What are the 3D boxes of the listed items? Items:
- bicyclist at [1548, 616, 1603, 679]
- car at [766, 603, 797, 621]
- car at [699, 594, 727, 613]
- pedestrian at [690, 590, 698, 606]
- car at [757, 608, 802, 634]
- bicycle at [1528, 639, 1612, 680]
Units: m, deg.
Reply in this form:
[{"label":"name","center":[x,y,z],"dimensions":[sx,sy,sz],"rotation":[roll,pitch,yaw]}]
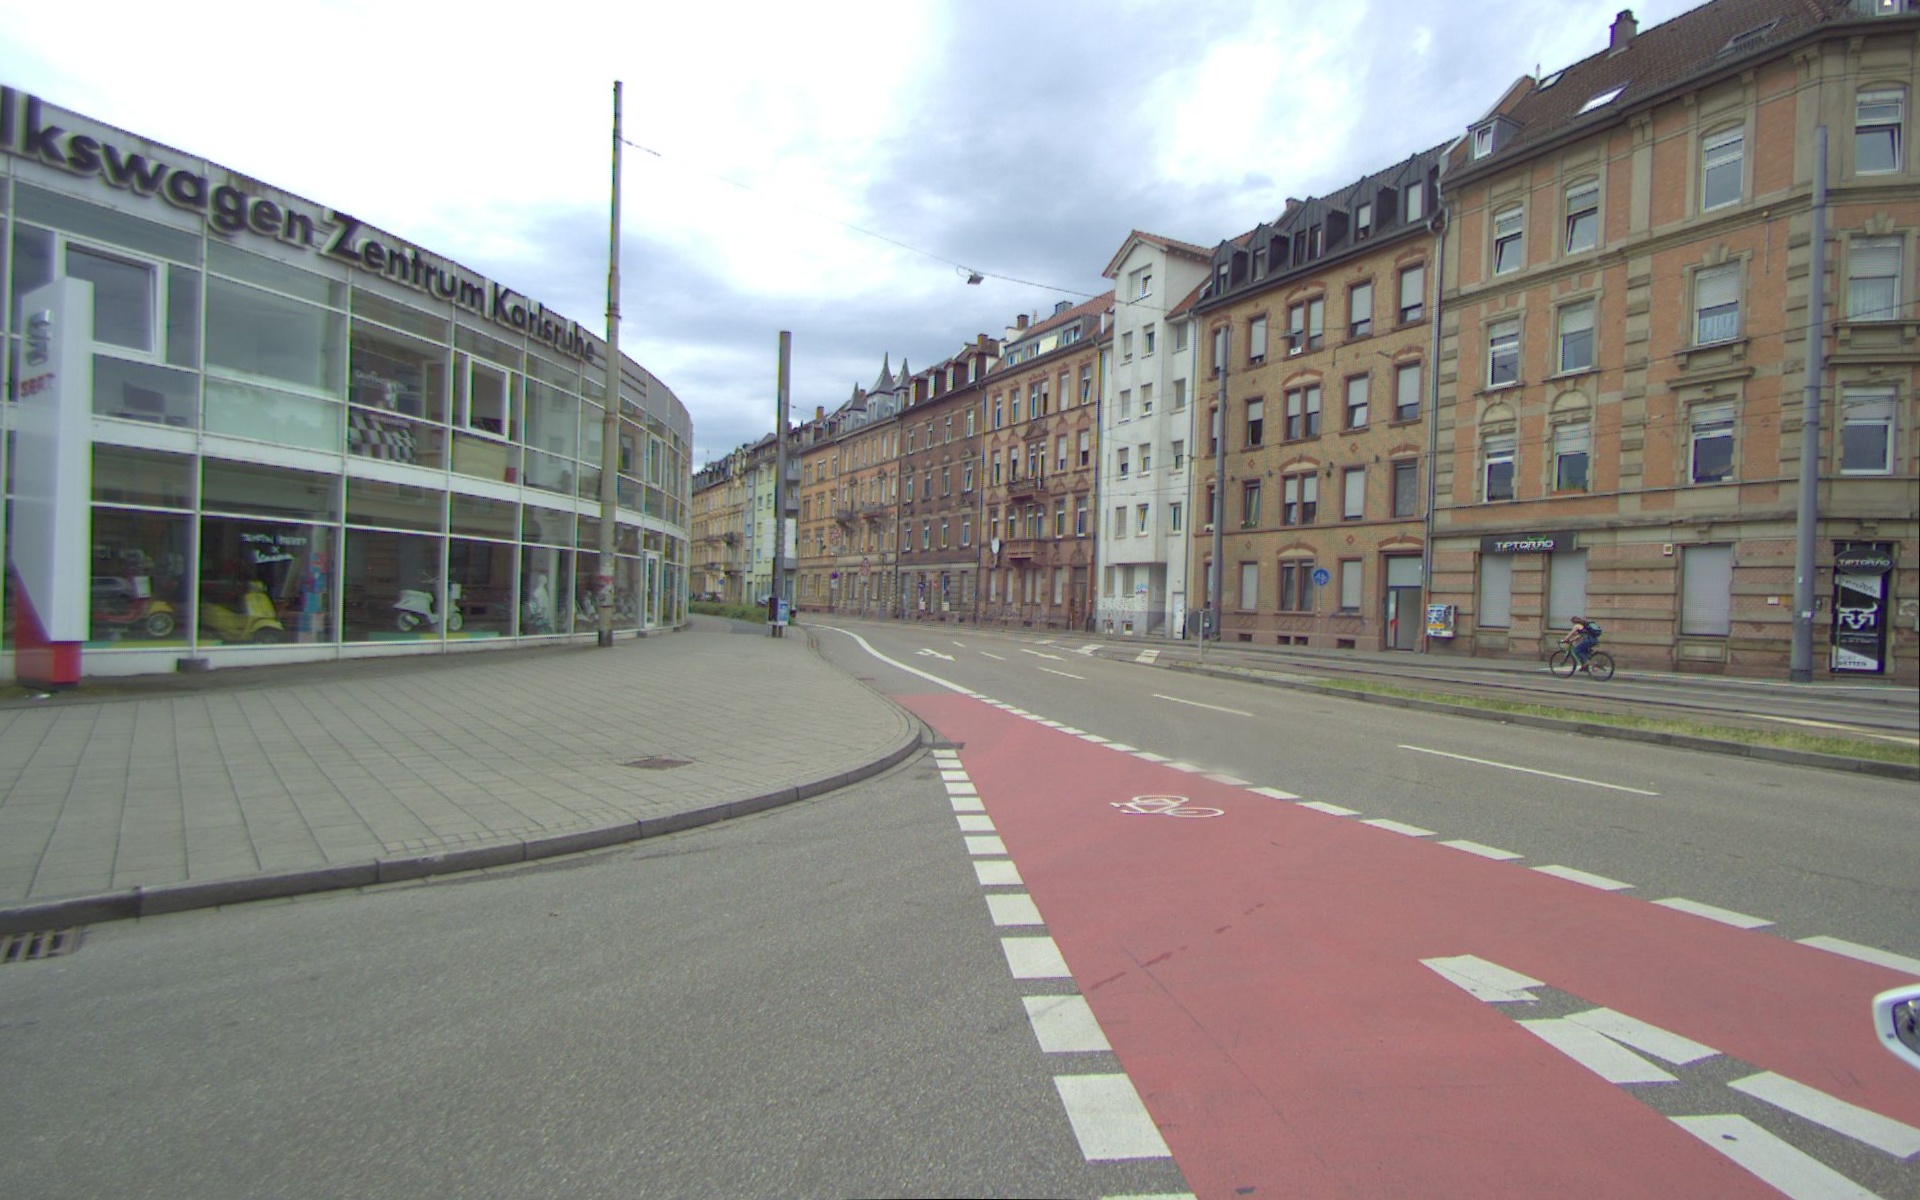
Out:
[{"label":"bicyclist","center":[15.425,1.181,25.181],"dimensions":[0.655,1.514,0.935],"rotation":[1,0,-30]},{"label":"car","center":[-16.127,1.044,90.652],"dimensions":[1.829,1.500,3.805],"rotation":[2,0,-24]},{"label":"car","center":[-23.888,0.342,97.011],"dimensions":[1.780,1.662,4.202],"rotation":[2,0,-26]},{"label":"pedestrian","center":[-33.632,-0.269,126.783],"dimensions":[0.800,2.040,0.695],"rotation":[2,0,-27]},{"label":"car","center":[-11.272,1.285,62.544],"dimensions":[1.693,1.440,4.042],"rotation":[2,0,-26]},{"label":"bicycle","center":[15.347,1.489,25.307],"dimensions":[0.601,0.927,1.705],"rotation":[2,0,-30]}]
